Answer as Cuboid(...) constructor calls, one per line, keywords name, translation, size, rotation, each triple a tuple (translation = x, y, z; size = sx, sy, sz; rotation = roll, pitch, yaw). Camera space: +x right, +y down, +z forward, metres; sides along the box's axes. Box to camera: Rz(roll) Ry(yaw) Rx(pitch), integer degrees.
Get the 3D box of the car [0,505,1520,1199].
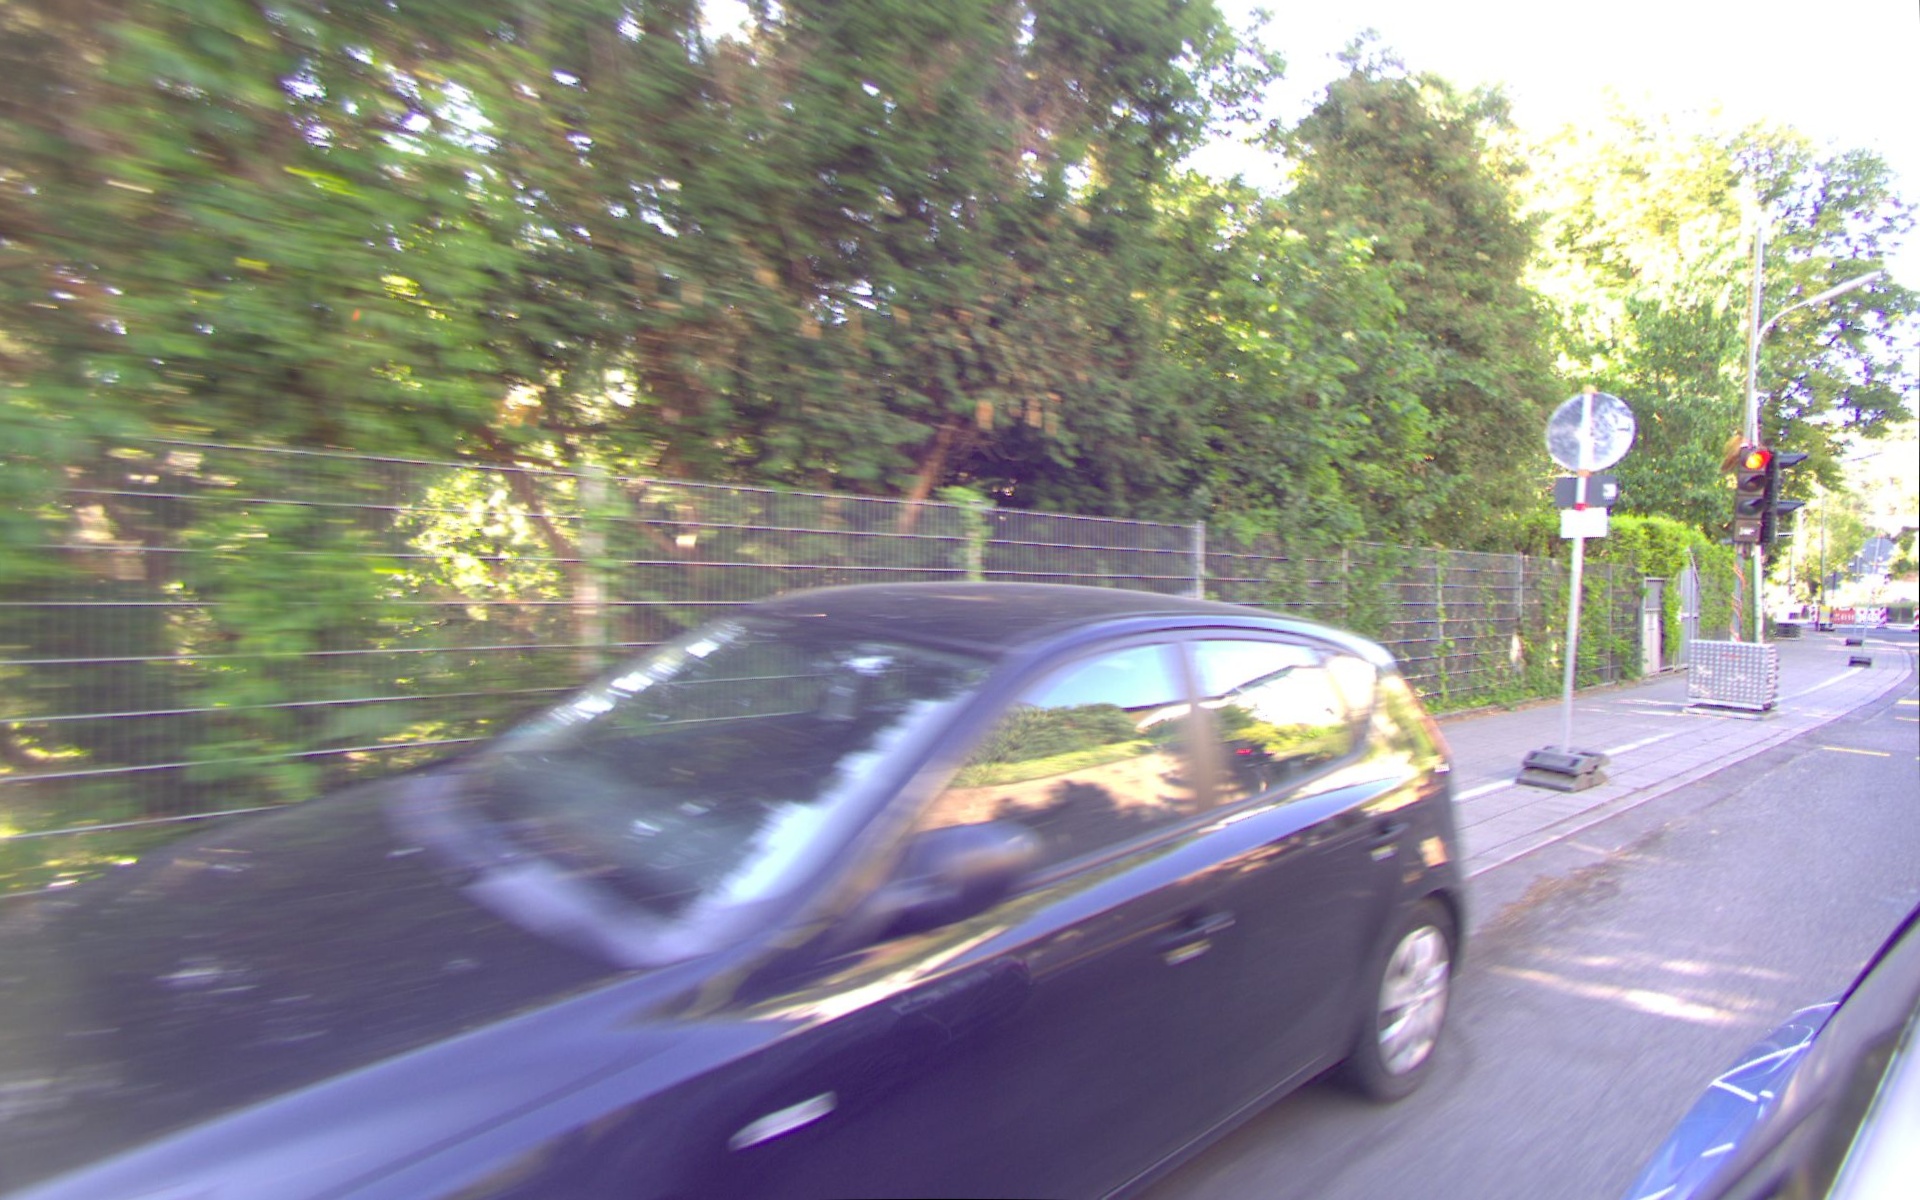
Cuboid(name="car", translation=(-0.236, 0.618, 2.680), size=(3.931, 1.459, 1.797), rotation=(0, 1, -42))
